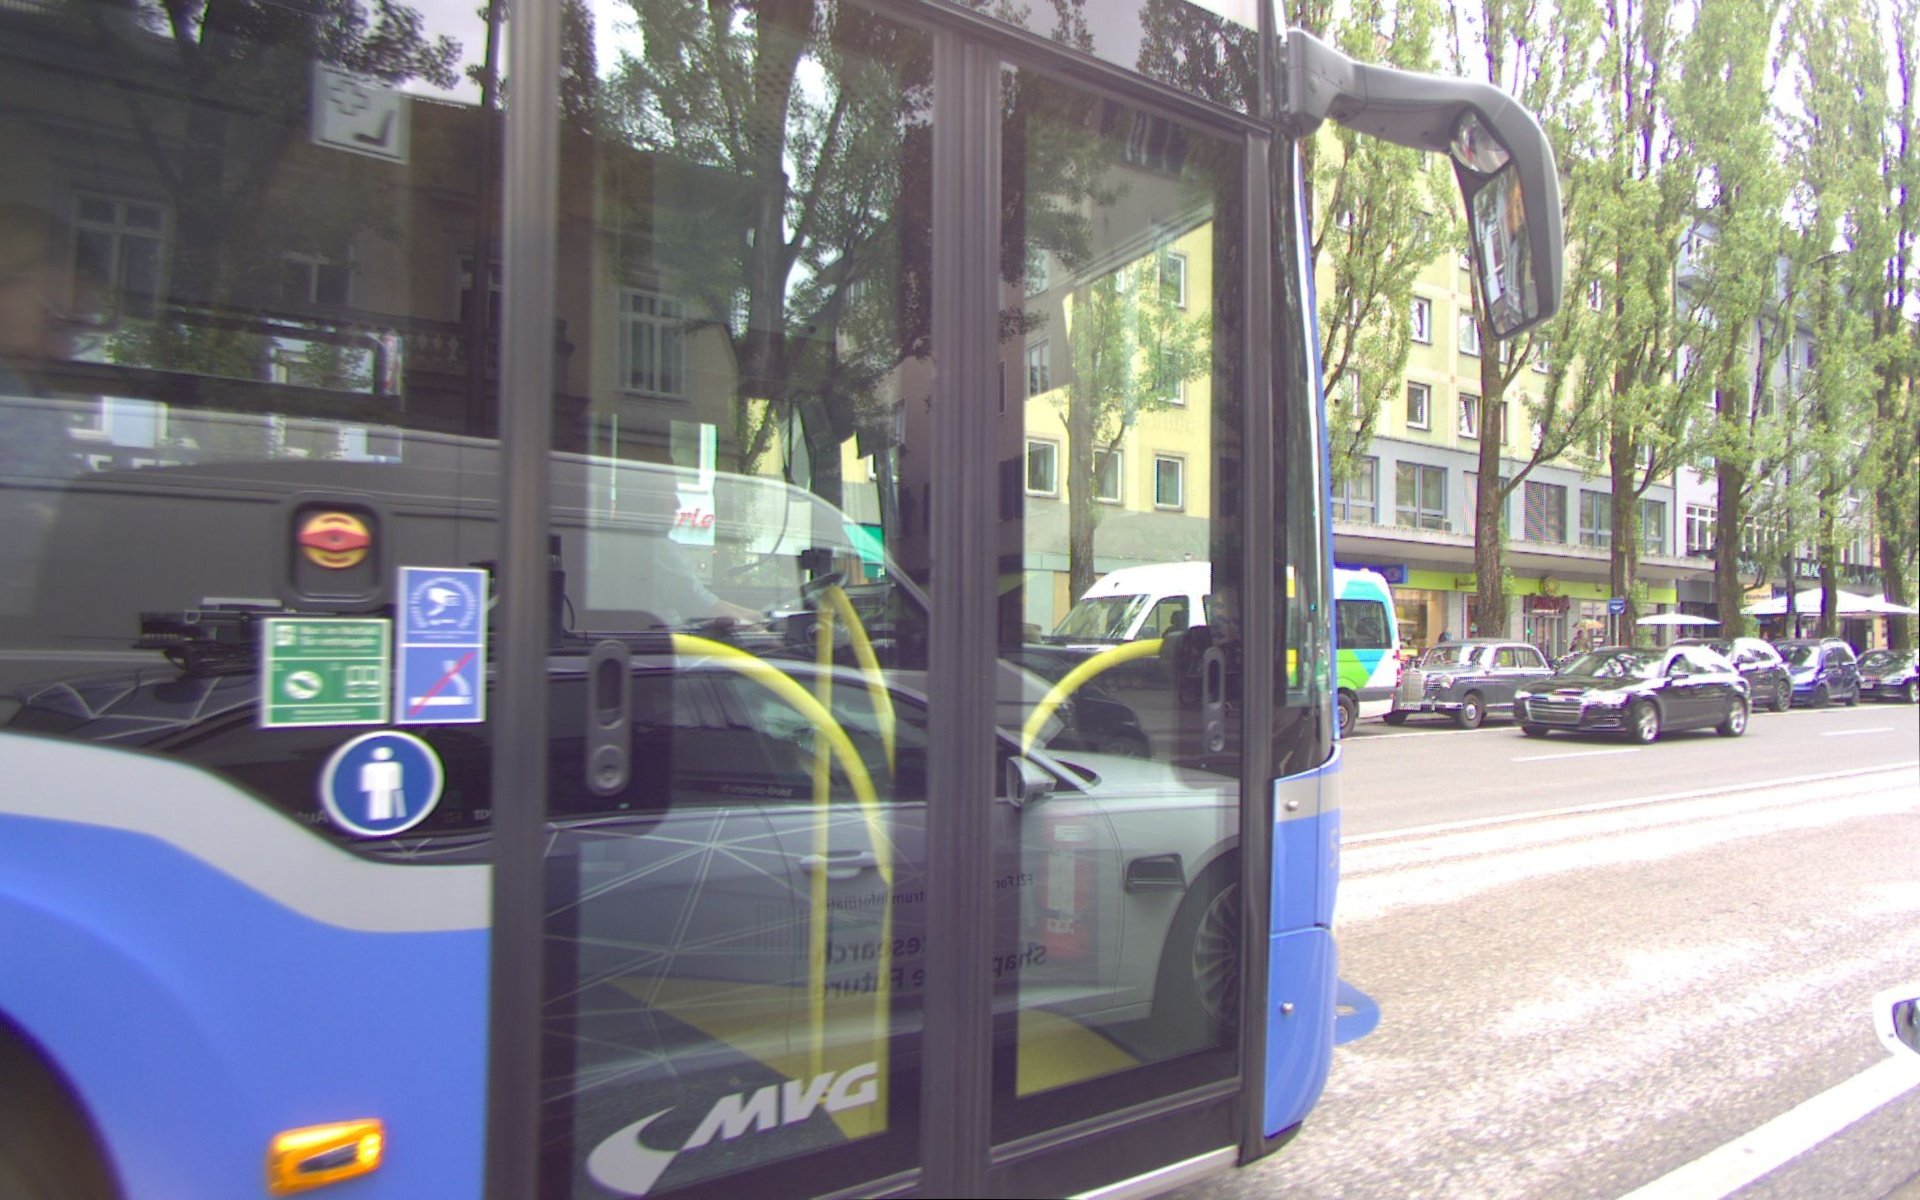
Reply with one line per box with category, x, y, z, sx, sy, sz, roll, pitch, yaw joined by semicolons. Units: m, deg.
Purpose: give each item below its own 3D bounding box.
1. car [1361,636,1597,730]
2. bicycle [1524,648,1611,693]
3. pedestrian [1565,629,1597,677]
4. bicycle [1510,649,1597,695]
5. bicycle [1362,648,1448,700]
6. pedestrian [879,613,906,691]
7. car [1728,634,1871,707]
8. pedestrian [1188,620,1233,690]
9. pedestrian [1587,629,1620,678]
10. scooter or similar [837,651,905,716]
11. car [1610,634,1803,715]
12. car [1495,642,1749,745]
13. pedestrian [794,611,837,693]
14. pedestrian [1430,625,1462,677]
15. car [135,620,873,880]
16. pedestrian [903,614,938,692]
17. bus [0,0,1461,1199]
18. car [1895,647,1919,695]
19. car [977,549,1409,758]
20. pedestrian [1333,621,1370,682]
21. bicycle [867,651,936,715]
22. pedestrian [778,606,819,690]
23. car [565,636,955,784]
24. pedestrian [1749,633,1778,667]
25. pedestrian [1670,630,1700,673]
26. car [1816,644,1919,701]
car;9.687;1.488;18.701;4.362;1.572;1.858;2;-3;-30
bicycle;17.030;1.958;28.198;0.712;1.110;1.933;1;1;-35
pedestrian;22.452;1.916;36.305;0.667;1.708;0.753;2;-3;-28
bicycle;16.352;1.968;27.727;0.712;1.110;1.933;1;1;-35
bicycle;10.719;1.764;24.267;0.710;1.110;1.862;1;1;-26
pedestrian;-1.473;1.134;21.988;0.553;1.657;0.699;1;-2;-6
car;21.406;1.760;25.584;3.880;1.743;1.700;2;-3;-33
pedestrian;6.246;1.381;25.068;0.775;1.707;0.753;3;-3;-29
pedestrian;22.775;1.886;35.545;0.667;1.708;0.753;2;-3;-28
scooter or similar;-1.568;1.415;17.425;0.416;1.040;1.764;2;-2;-32
car;16.958;1.644;22.773;4.557;1.686;1.858;2;-3;-30
car;10.577;1.413;15.994;4.081;1.453;1.738;2;-3;-30
pedestrian;-3.107;1.108;21.570;0.717;1.722;0.695;1;-2;-25
pedestrian;16.330;1.714;33.756;0.749;1.708;0.670;2;-3;-29
car;-3.125;0.958;7.692;4.657;1.481;1.690;2;-3;-30
pedestrian;-0.860;1.142;21.821;0.713;1.657;0.699;1;-2;-6
bus;-3.833;-0.206;0.811;9.936;2.988;2.676;2;-2;-31
car;30.678;2.167;30.853;4.095;1.444;1.725;2;-3;-30
car;3.677;0.791;15.101;6.831;2.601;1.996;2;-3;-30
pedestrian;11.250;1.482;28.864;0.667;1.708;0.753;2;-3;-29
bicycle;-1.052;1.438;17.792;0.416;1.040;1.764;2;-2;-32
pedestrian;-3.576;1.054;22.270;0.717;1.818;0.695;1;-2;-25
car;-2.249;1.167;11.602;4.100;1.438;1.729;2;-3;-30
pedestrian;34.774;2.151;43.485;0.792;1.428;0.760;2;0;-34
pedestrian;29.025;2.062;40.210;0.667;1.708;0.753;2;-3;-29
car;26.030;1.991;28.145;4.299;1.508;1.790;2;-3;-30
